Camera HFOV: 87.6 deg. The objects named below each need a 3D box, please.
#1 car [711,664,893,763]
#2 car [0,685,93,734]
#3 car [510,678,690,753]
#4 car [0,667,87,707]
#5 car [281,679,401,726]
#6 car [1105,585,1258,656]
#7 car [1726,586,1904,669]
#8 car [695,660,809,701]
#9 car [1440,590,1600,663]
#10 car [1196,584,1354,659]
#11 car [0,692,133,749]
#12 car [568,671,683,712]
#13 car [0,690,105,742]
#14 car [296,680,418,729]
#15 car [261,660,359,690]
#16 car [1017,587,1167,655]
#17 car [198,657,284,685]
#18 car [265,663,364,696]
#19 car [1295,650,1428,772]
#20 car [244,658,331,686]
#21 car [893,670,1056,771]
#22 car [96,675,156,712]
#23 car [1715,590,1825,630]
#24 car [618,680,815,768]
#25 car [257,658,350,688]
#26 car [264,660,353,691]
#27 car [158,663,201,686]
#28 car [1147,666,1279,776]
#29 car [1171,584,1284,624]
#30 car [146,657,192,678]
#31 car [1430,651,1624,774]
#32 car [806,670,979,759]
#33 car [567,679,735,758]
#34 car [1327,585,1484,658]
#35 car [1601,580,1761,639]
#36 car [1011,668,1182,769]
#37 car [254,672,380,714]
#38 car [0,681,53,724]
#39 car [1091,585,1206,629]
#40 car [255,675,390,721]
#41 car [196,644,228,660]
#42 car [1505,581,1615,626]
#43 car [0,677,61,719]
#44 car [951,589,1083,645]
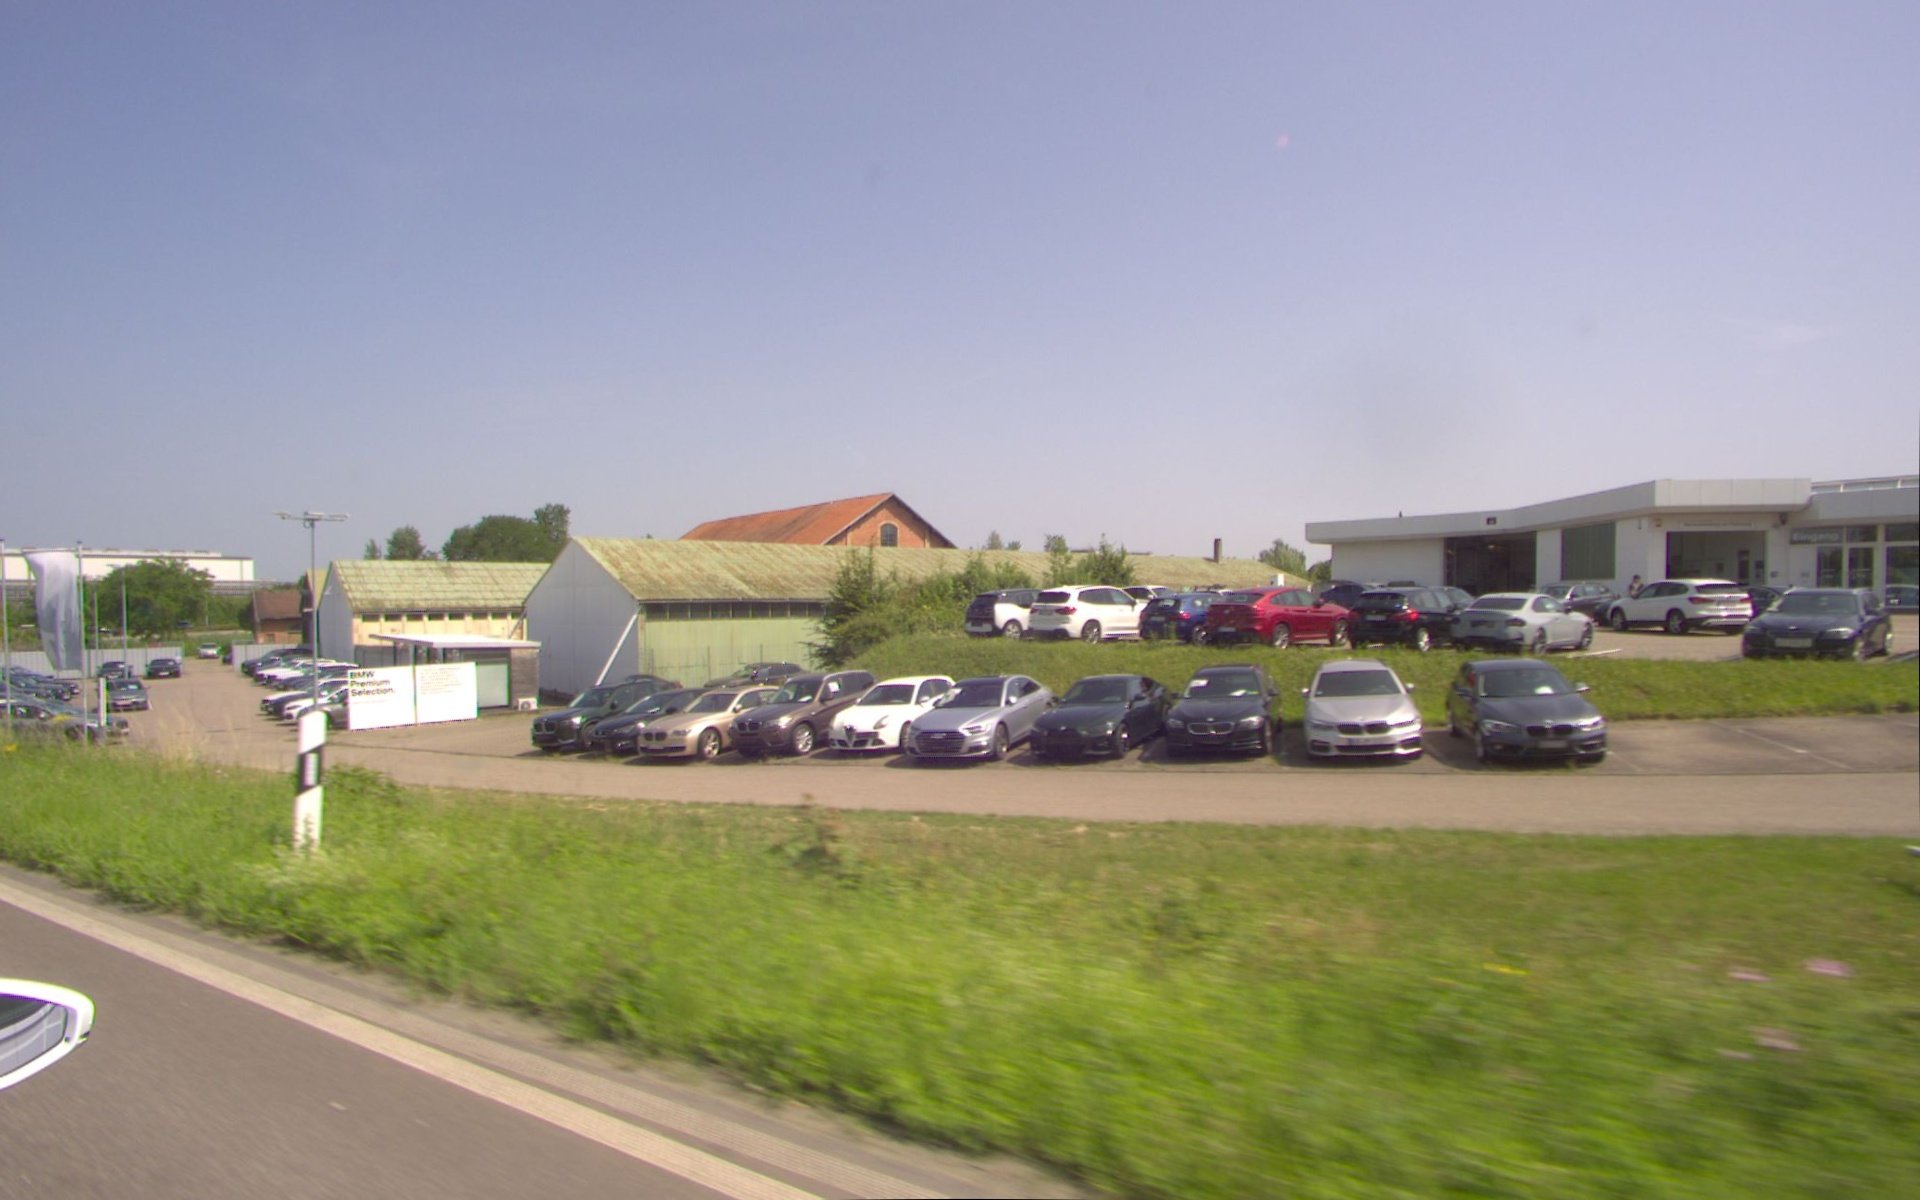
[{"bbox_3d":[-3.649,2.624,23.837,1.971,1.771,4.240,-4,0,30],"label":"car"},{"bbox_3d":[-33.605,3.889,35.403,4.108,1.542,1.849,0,-2,-27],"label":"car"},{"bbox_3d":[-9.836,3.124,27.733,2.114,1.660,4.480,-3,-2,26],"label":"car"},{"bbox_3d":[-46.191,4.293,49.470,4.161,1.723,1.915,0,1,-17],"label":"car"},{"bbox_3d":[-24.457,4.010,39.626,3.918,1.542,1.741,0,-2,-34],"label":"car"},{"bbox_3d":[6.121,0.519,27.435,4.419,1.770,1.823,-1,0,-41],"label":"car"},{"bbox_3d":[17.895,0.521,20.918,3.957,1.547,1.936,-1,1,-35],"label":"car"},{"bbox_3d":[-8.845,3.400,42.842,4.413,1.490,1.965,1,-2,-42],"label":"car"},{"bbox_3d":[13.202,0.552,23.489,4.419,1.520,1.932,-1,1,-41],"label":"car"},{"bbox_3d":[8.264,0.502,26.078,4.419,1.770,1.932,-1,0,-41],"label":"car"},{"bbox_3d":[-28.794,3.765,31.356,4.102,1.542,1.686,0,-2,-21],"label":"car"},{"bbox_3d":[-13.043,3.539,39.174,3.911,1.393,1.704,1,-2,-42],"label":"car"},{"bbox_3d":[-31.408,3.867,33.355,4.107,1.542,1.745,0,-2,-26],"label":"car"},{"bbox_3d":[-22.202,3.829,37.048,3.746,1.542,1.744,0,-2,-28],"label":"car"},{"bbox_3d":[-39.385,4.537,60.769,1.883,1.542,4.640,-2,-1,30],"label":"car"},{"bbox_3d":[3.846,0.551,28.706,4.419,1.770,1.823,-1,0,-41],"label":"car"},{"bbox_3d":[-47.922,4.706,66.813,1.880,1.543,4.325,0,-1,25],"label":"car"},{"bbox_3d":[-35.815,4.385,55.677,1.770,1.542,4.308,-2,-1,30],"label":"car"},{"bbox_3d":[7.229,1.913,18.189,1.891,1.586,4.560,-4,0,21],"label":"car"},{"bbox_3d":[-43.454,4.639,64.787,1.880,1.543,4.325,0,-1,25],"label":"car"},{"bbox_3d":[0.444,2.453,21.162,1.891,1.484,4.422,-4,0,22],"label":"car"},{"bbox_3d":[-40.183,4.460,48.229,2.119,1.476,4.494,1,-2,-41],"label":"car"},{"bbox_3d":[24.031,0.285,29.824,1.600,1.125,2.948,-1,0,18],"label":"car"},{"bbox_3d":[-5.907,3.004,24.918,1.971,1.527,4.758,-4,-1,30],"label":"car"},{"bbox_3d":[-41.175,4.558,62.940,1.880,1.543,4.599,0,-1,25],"label":"car"},{"bbox_3d":[-37.718,4.356,58.041,1.732,1.543,3.992,-2,-1,30],"label":"car"},{"bbox_3d":[-59.595,5.692,76.532,1.829,1.554,4.623,0,-2,-29],"label":"car"},{"bbox_3d":[5.010,2.252,19.391,1.891,1.501,4.250,-4,0,21],"label":"car"},{"bbox_3d":[11.488,0.206,43.195,2.169,1.617,4.270,-1,0,-39],"label":"car"},{"bbox_3d":[-58.333,4.939,73.894,1.971,1.416,3.982,0,-2,-29],"label":"car"},{"bbox_3d":[9.352,1.785,16.931,1.752,1.440,4.565,-4,0,16],"label":"car"},{"bbox_3d":[-1.426,2.538,22.890,1.847,1.484,4.241,-4,-1,30],"label":"car"},{"bbox_3d":[-7.970,3.044,26.208,1.969,1.572,3.986,-4,-1,26],"label":"car"},{"bbox_3d":[11.228,0.491,25.091,4.419,1.656,1.933,-1,0,-41],"label":"car"},{"bbox_3d":[21.507,0.262,30.092,1.626,1.607,4.267,-1,0,-2],"label":"car"},{"bbox_3d":[2.878,2.311,20.277,1.895,1.431,4.240,-4,0,30],"label":"car"},{"bbox_3d":[-28.969,4.147,45.215,1.910,1.543,4.404,-2,-1,40],"label":"car"},{"bbox_3d":[-38.737,4.075,39.428,4.107,1.542,1.850,0,-2,-26],"label":"car"},{"bbox_3d":[7.359,0.275,39.388,1.900,1.617,4.270,-1,0,-38],"label":"car"},{"bbox_3d":[-26.723,4.049,42.115,1.907,1.543,4.412,-2,-1,35],"label":"car"},{"bbox_3d":[-73.231,5.080,98.119,1.971,1.416,3.982,0,-2,-29],"label":"car"},{"bbox_3d":[21.915,0.107,36.531,4.412,1.542,1.936,-1,0,-37],"label":"car"},{"bbox_3d":[-44.528,4.539,45.897,4.565,1.723,1.851,0,1,-21],"label":"car"},{"bbox_3d":[1.748,0.489,30.139,3.845,1.553,1.753,-1,0,-41],"label":"car"}]
